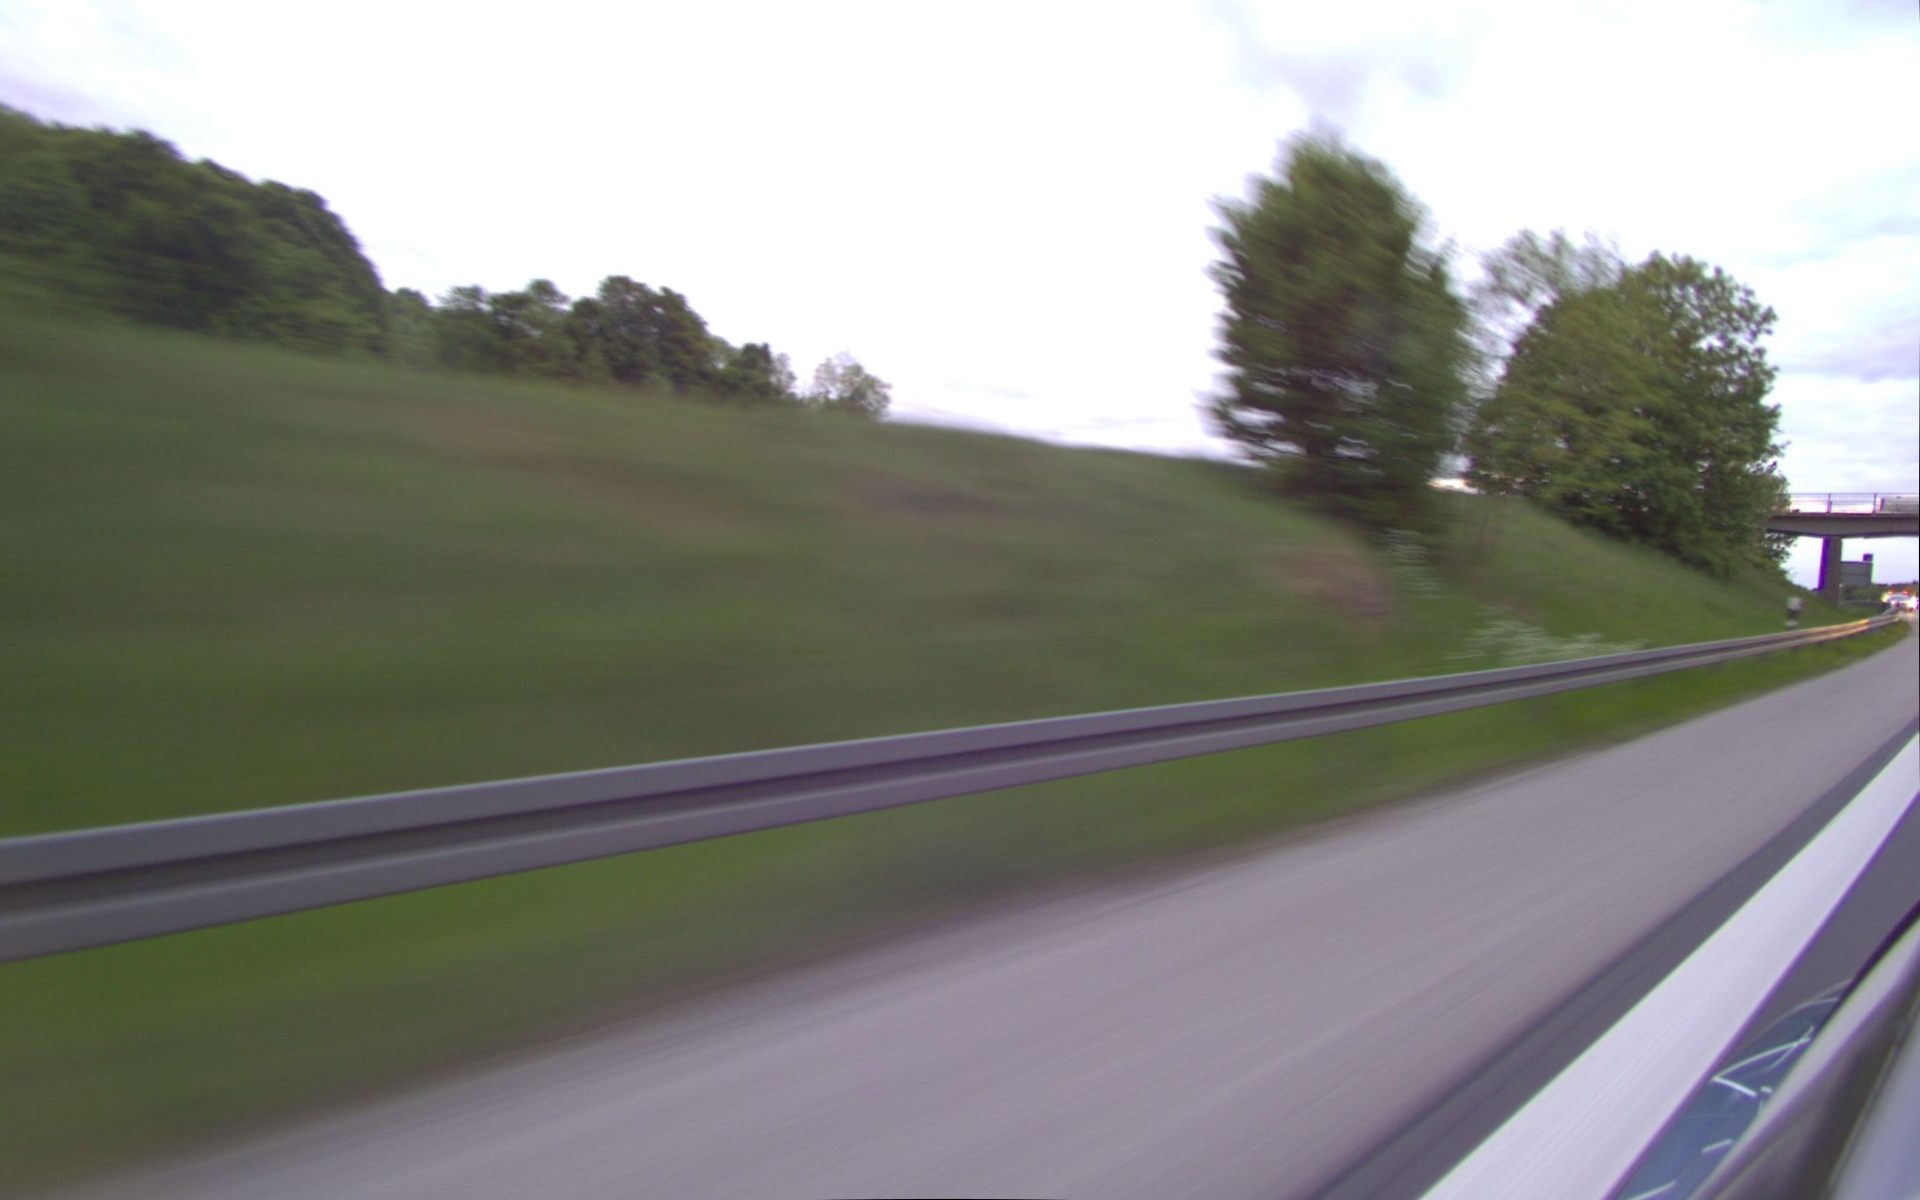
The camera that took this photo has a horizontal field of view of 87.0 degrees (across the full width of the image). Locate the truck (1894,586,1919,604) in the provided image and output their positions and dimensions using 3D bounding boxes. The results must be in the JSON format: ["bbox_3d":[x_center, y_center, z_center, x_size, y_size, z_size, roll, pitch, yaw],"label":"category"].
[{"bbox_3d":[172.095,-0.954,183.645,2.600,3.148,6.593,1,1,32],"label":"truck"}]

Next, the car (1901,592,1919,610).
[{"bbox_3d":[107.026,0.113,113.469,1.914,1.860,3.940,4,2,41],"label":"car"}]
